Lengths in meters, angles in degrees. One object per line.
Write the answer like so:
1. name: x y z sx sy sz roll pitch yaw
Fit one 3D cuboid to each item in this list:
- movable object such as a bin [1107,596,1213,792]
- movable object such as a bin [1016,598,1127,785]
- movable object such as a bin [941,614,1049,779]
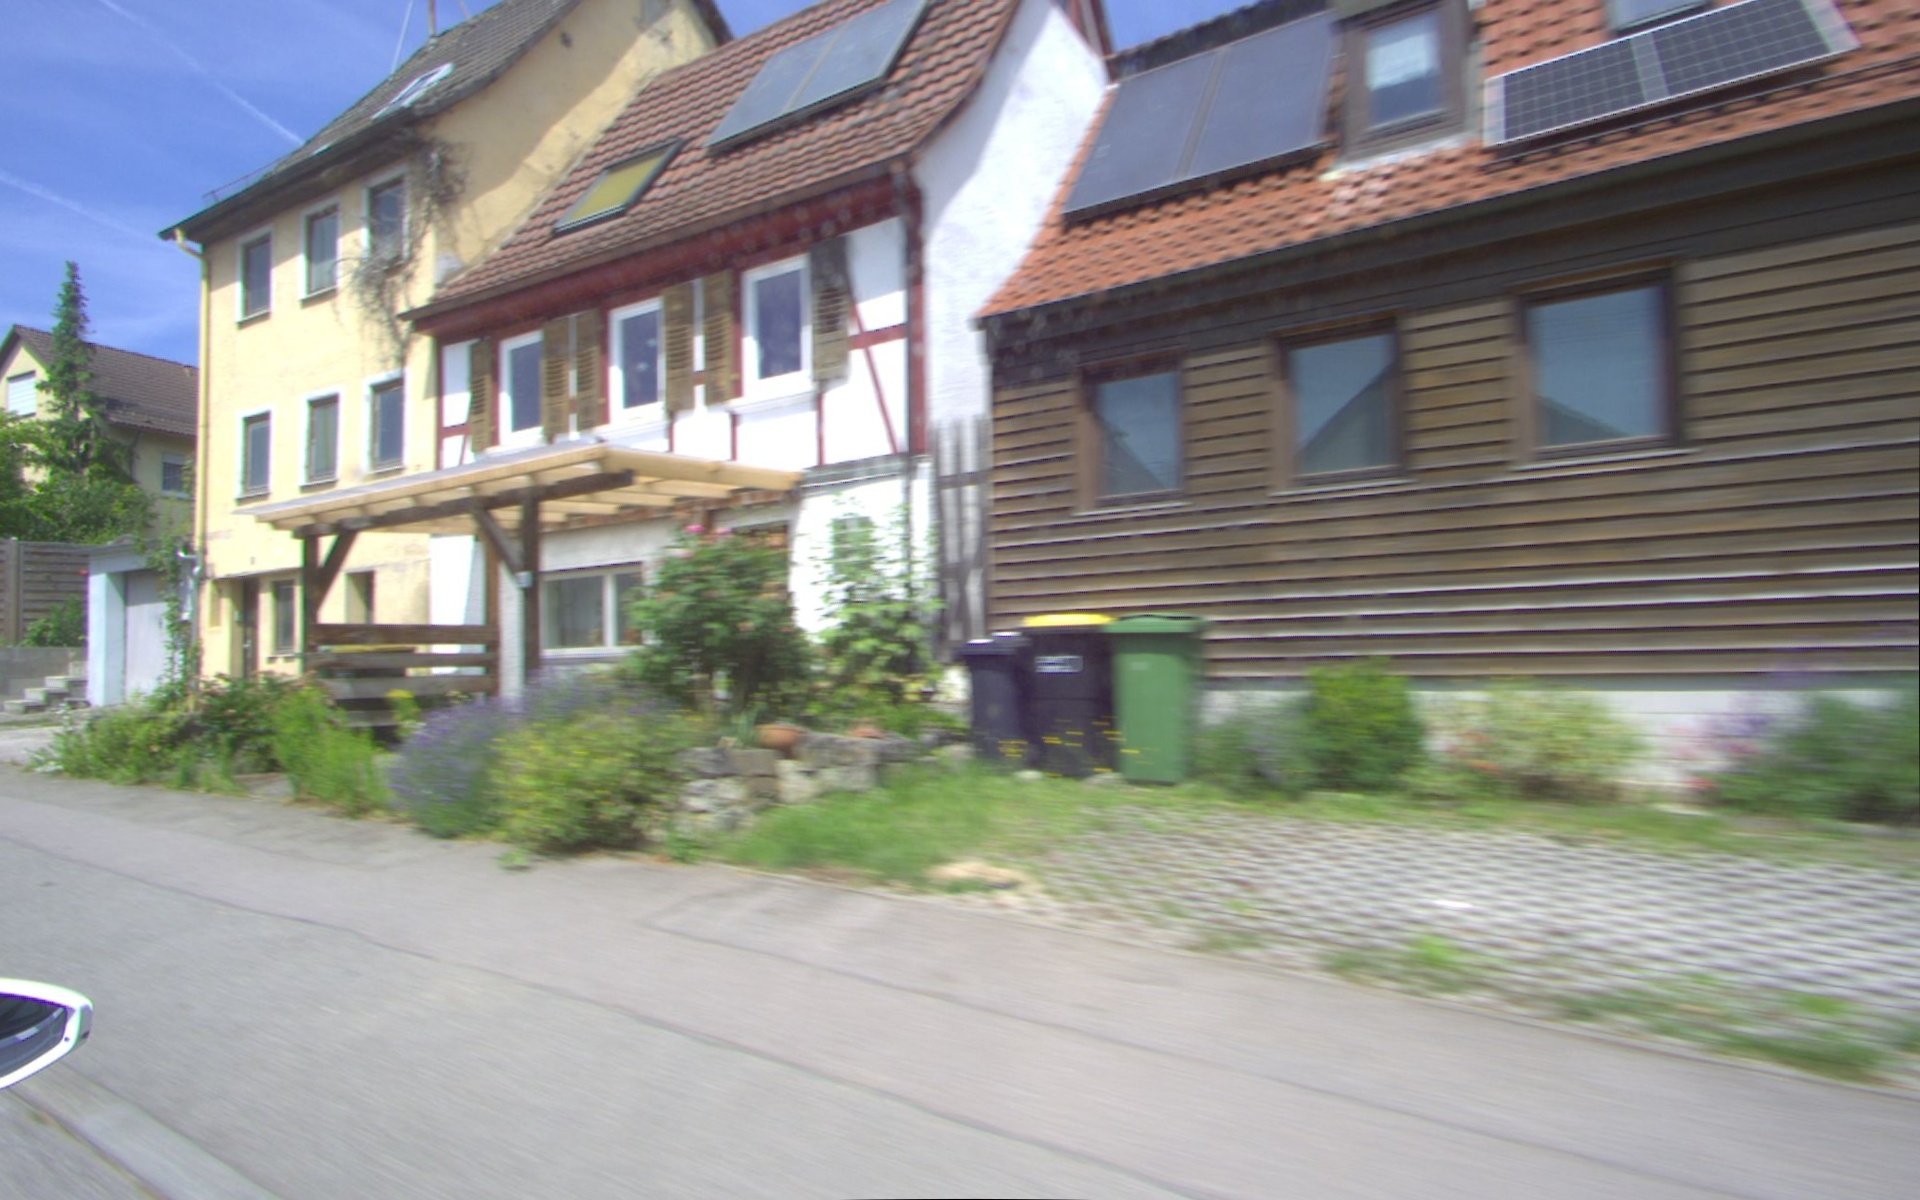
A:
1. movable object such as a bin: 1.307 0.585 6.497 0.503 1.174 0.533 -1 5 29
2. movable object such as a bin: 0.768 0.598 6.813 0.541 1.174 0.533 -1 5 28
3. movable object such as a bin: 0.257 0.662 7.116 0.541 1.072 0.533 -1 5 28
